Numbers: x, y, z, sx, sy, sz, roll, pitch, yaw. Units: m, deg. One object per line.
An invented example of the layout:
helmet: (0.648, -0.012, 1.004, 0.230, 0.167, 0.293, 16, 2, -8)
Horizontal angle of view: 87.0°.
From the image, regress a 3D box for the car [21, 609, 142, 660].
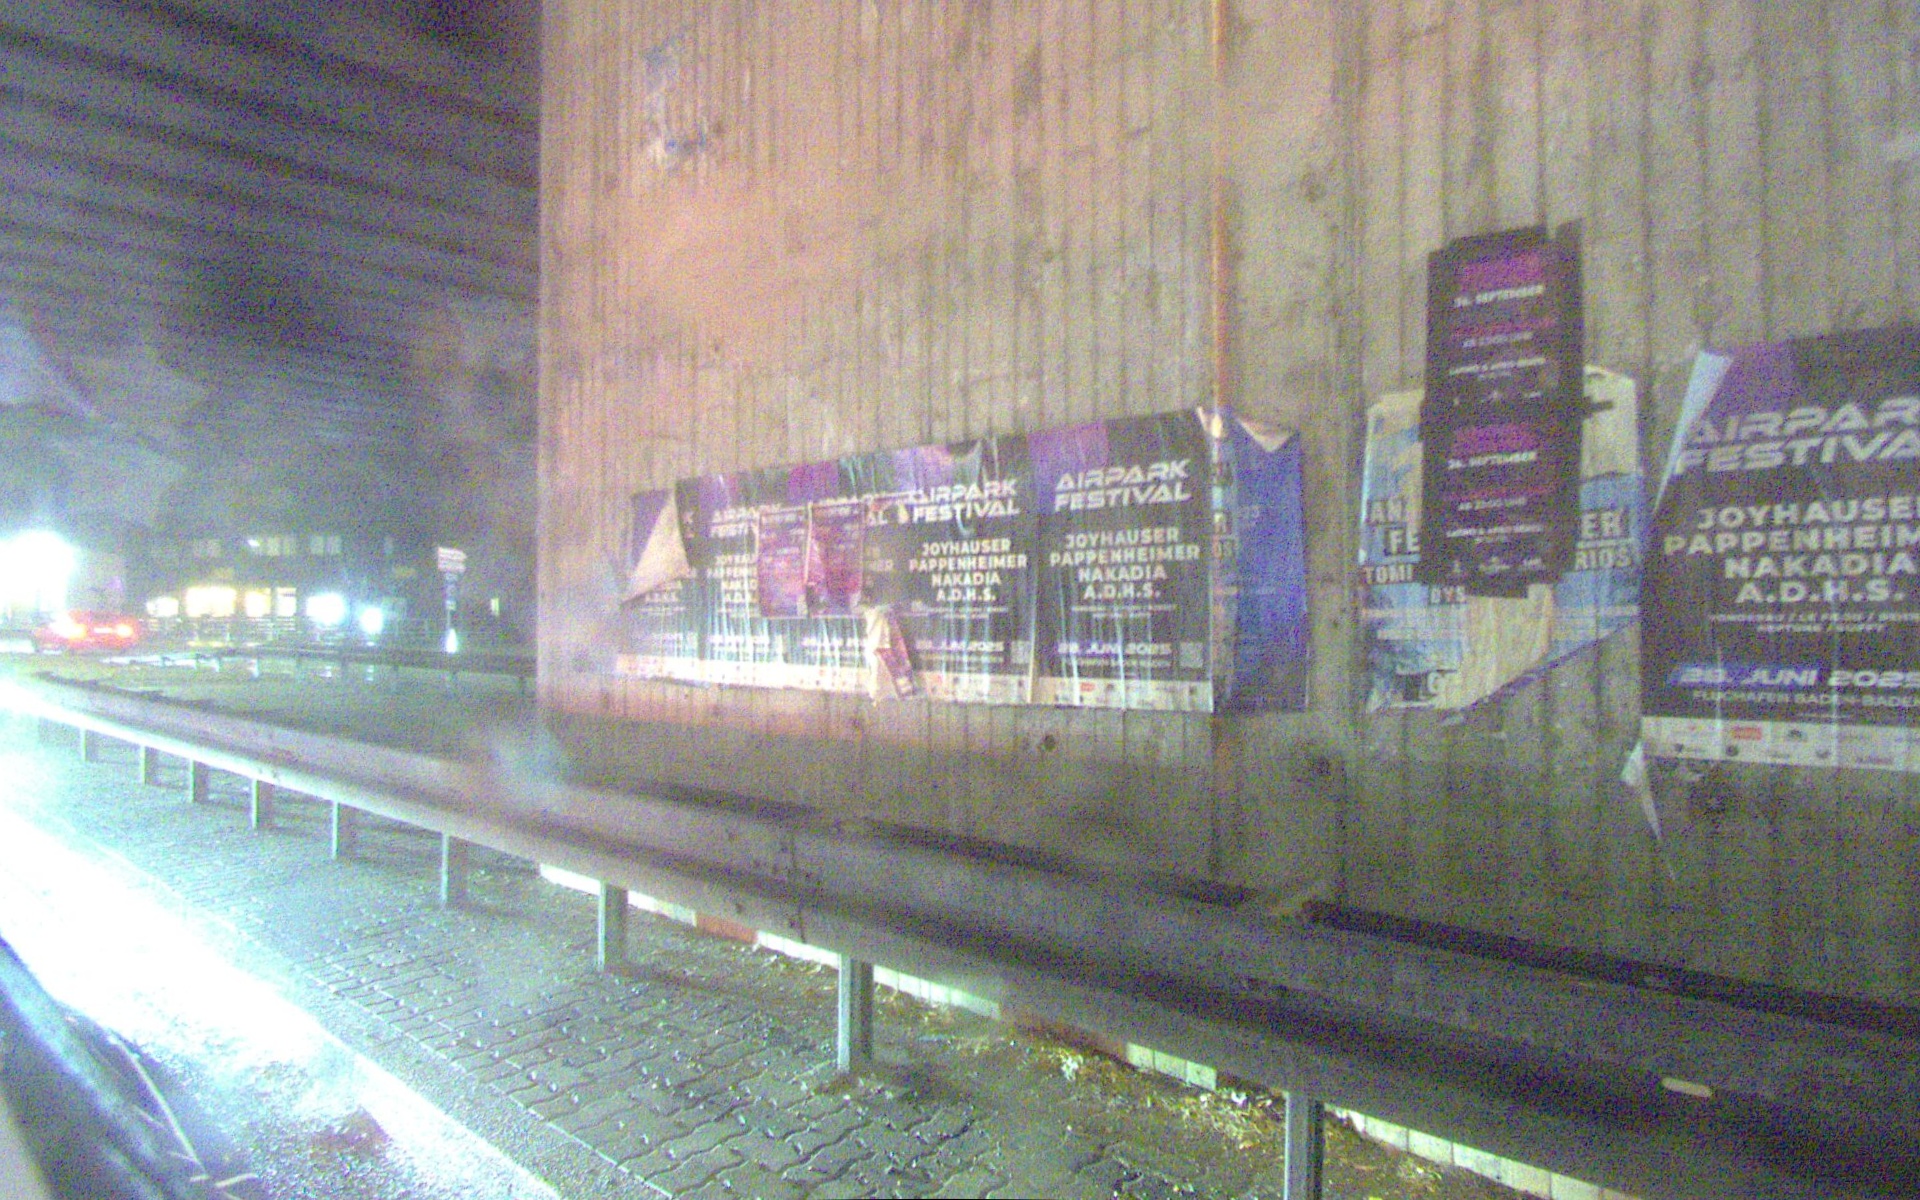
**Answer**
car: (-29.501, 1.197, 33.956, 4.067, 1.600, 1.891, -2, -4, 32)
